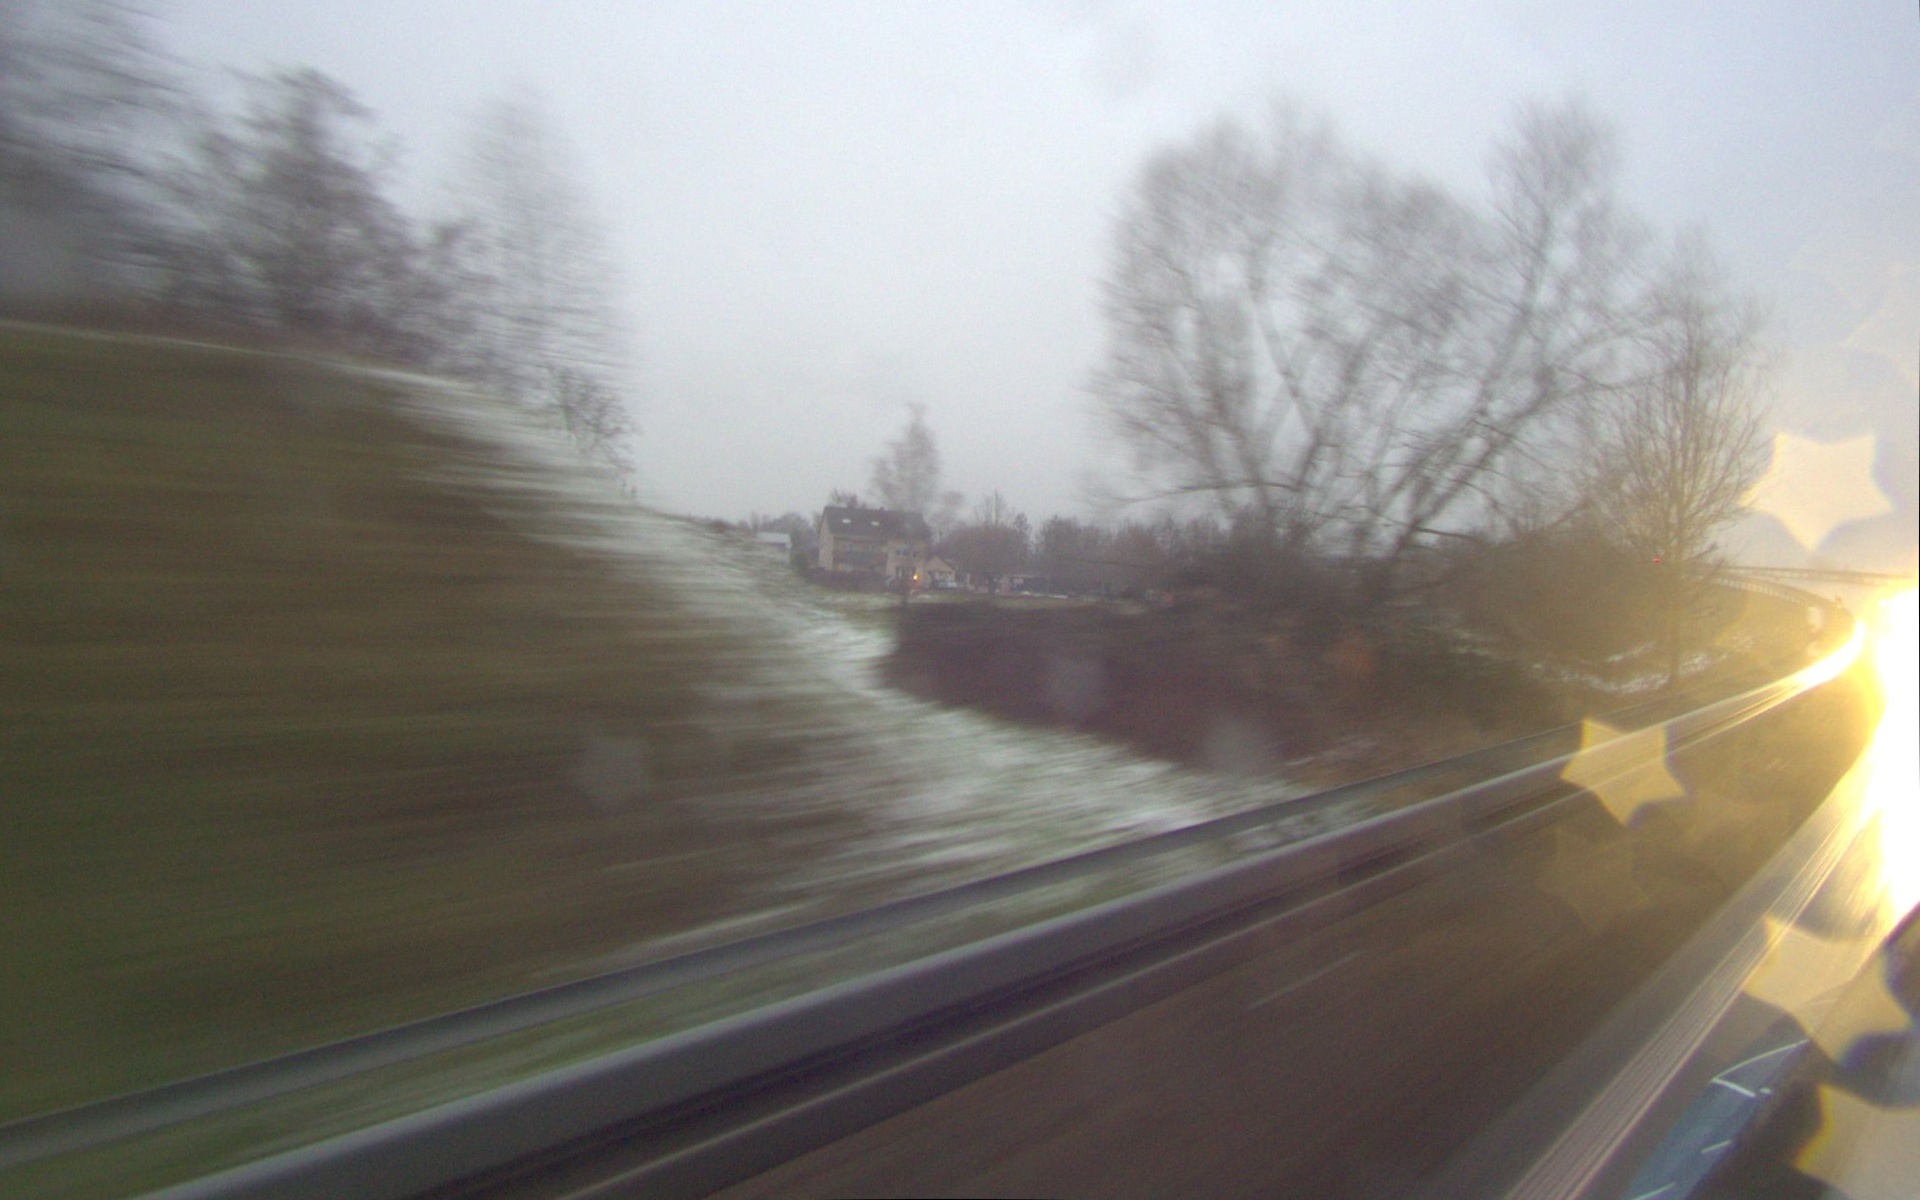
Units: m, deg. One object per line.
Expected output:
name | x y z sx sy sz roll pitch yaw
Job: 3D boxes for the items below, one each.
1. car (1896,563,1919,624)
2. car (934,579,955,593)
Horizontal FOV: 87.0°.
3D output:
car | 27.586 -0.097 28.076 2.095 1.594 4.728 4 2 40
car | -2.090 -1.951 136.769 1.958 1.749 4.010 0 3 -13
